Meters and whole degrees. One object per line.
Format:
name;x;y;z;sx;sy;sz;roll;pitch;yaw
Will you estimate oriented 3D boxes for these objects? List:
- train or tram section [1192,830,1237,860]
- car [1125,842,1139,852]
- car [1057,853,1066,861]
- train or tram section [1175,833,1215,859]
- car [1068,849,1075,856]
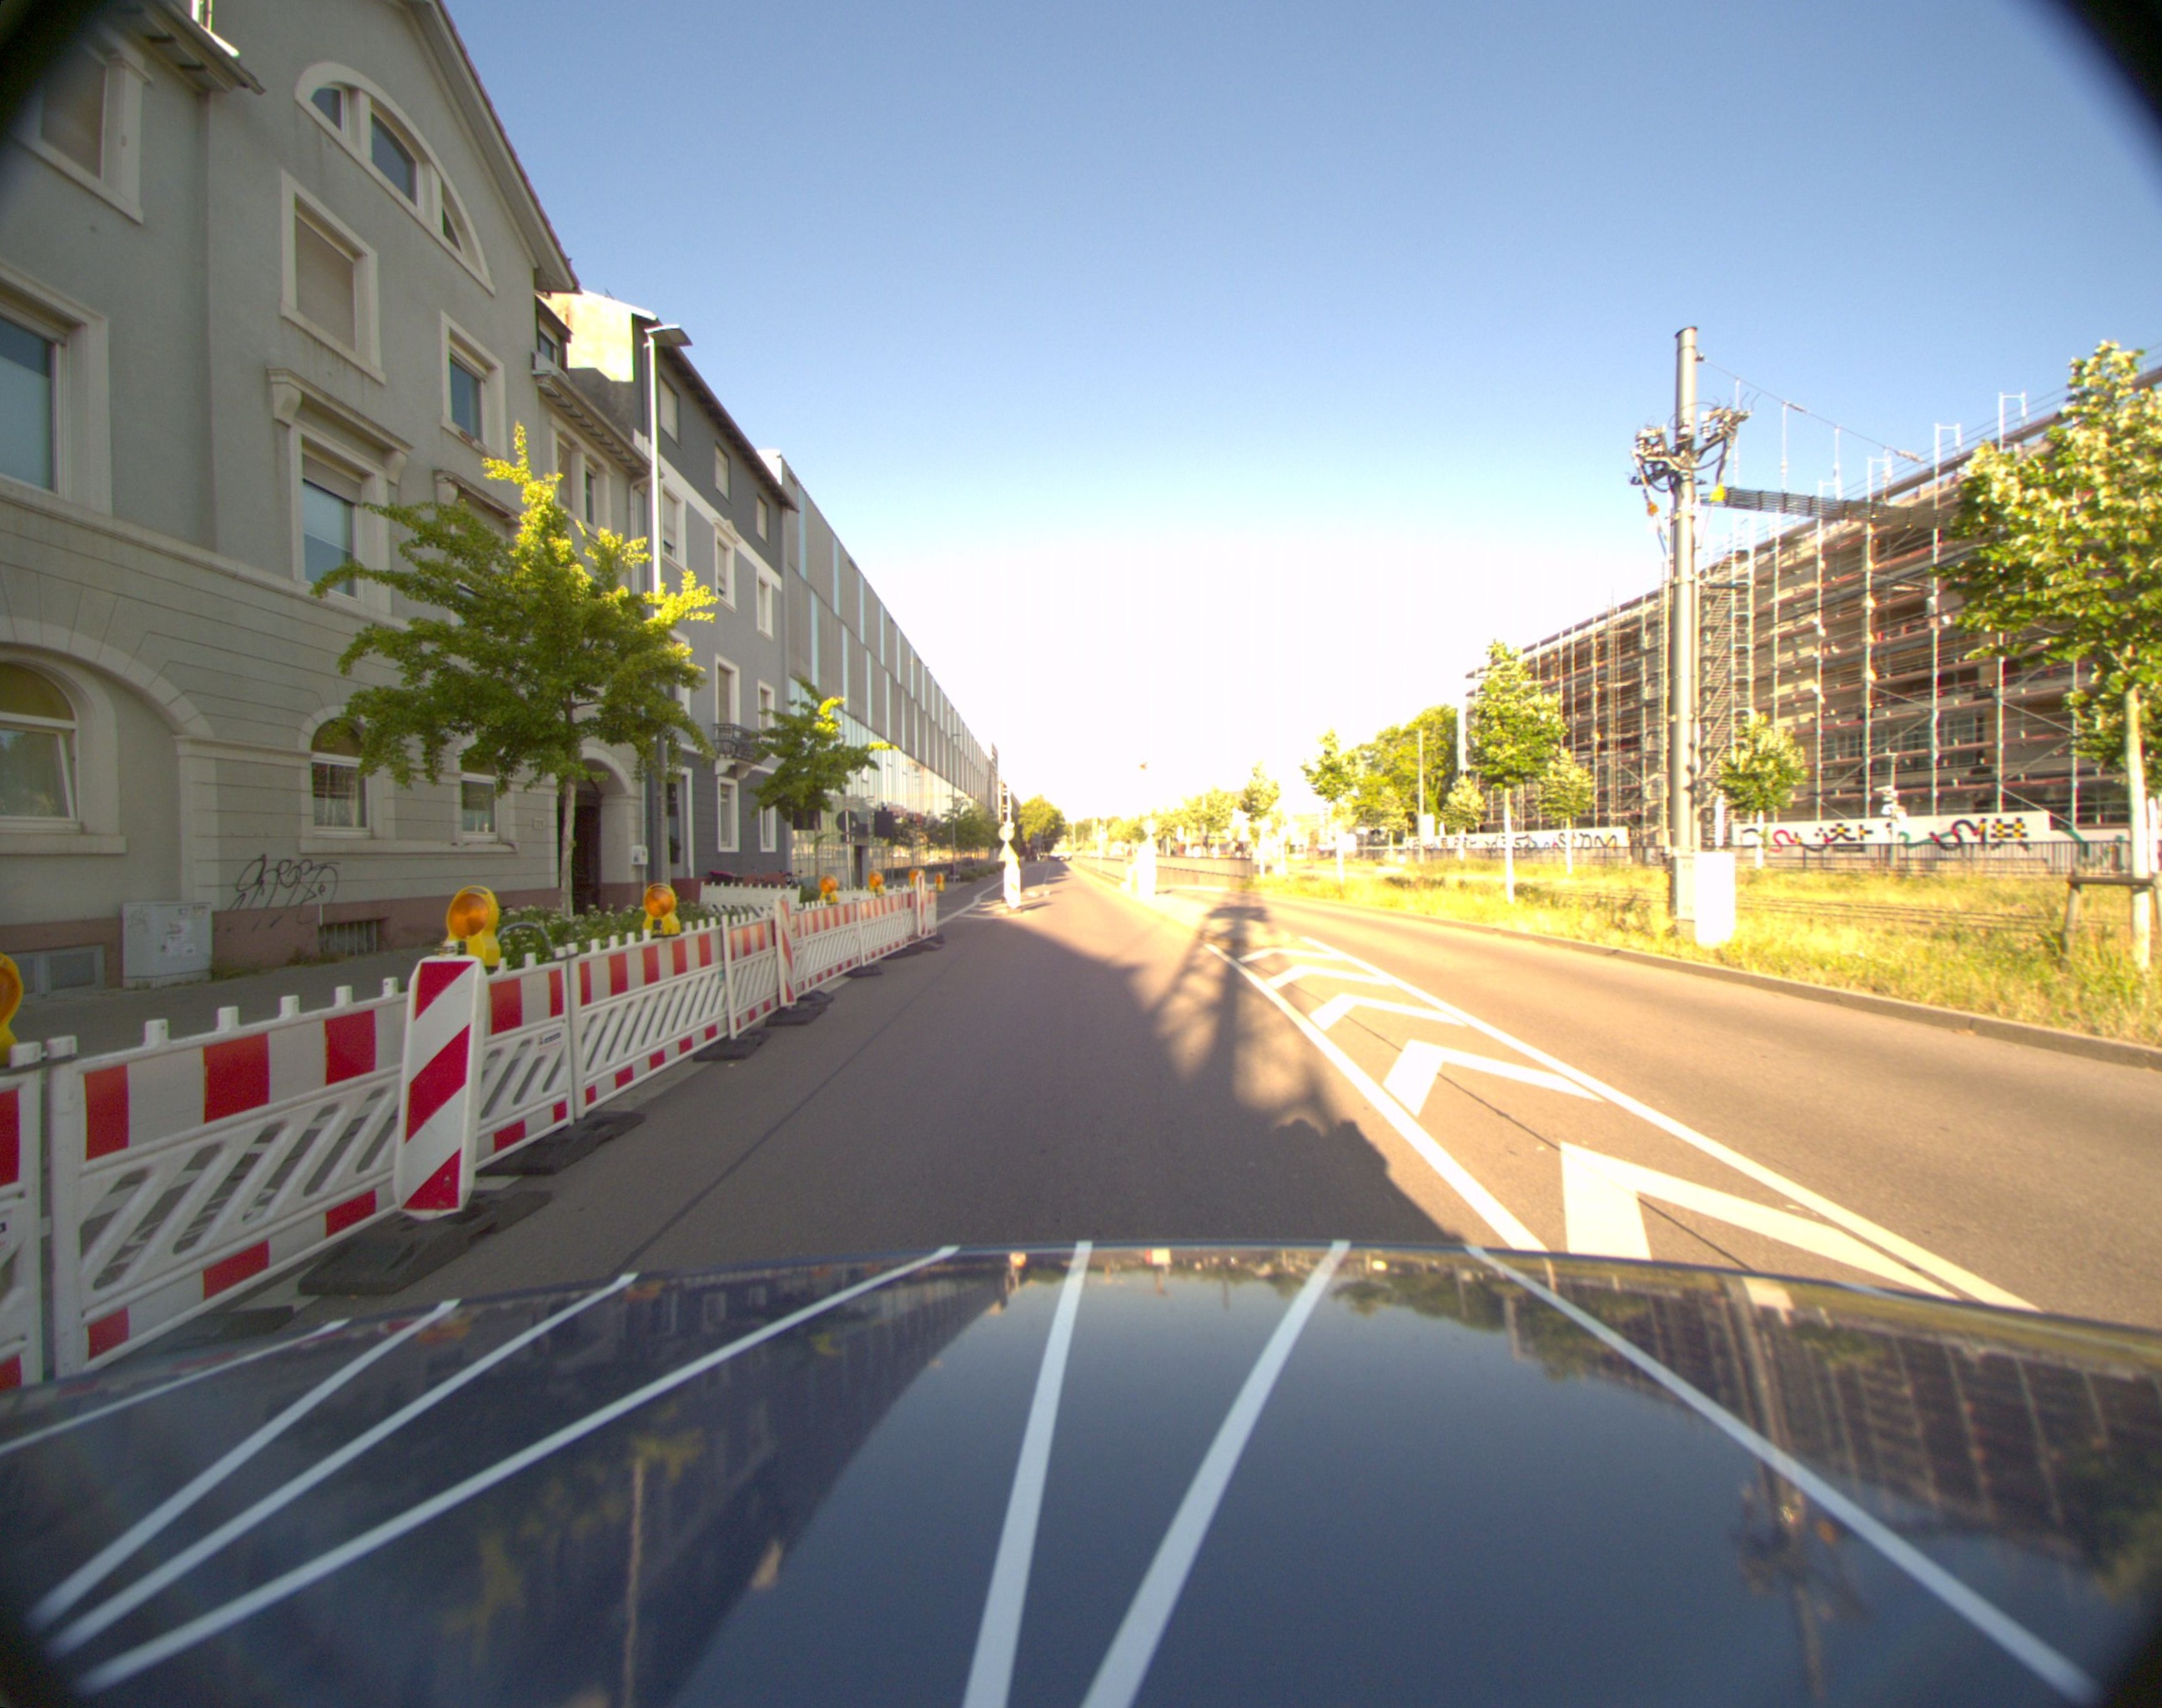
train or tram section;16.383;-1.088;94.234;2.954;3.378;12.630;-2;1;-2
car;8.848;-1.211;132.123;1.998;1.740;3.999;-2;1;1
car;-4.795;0.794;187.218;1.941;2.002;3.825;-1;0;-3
train or tram section;15.993;-1.163;107.957;2.954;3.378;14.761;-2;1;-2
car;-3.114;-0.461;243.676;1.941;2.002;3.825;-1;0;-3
